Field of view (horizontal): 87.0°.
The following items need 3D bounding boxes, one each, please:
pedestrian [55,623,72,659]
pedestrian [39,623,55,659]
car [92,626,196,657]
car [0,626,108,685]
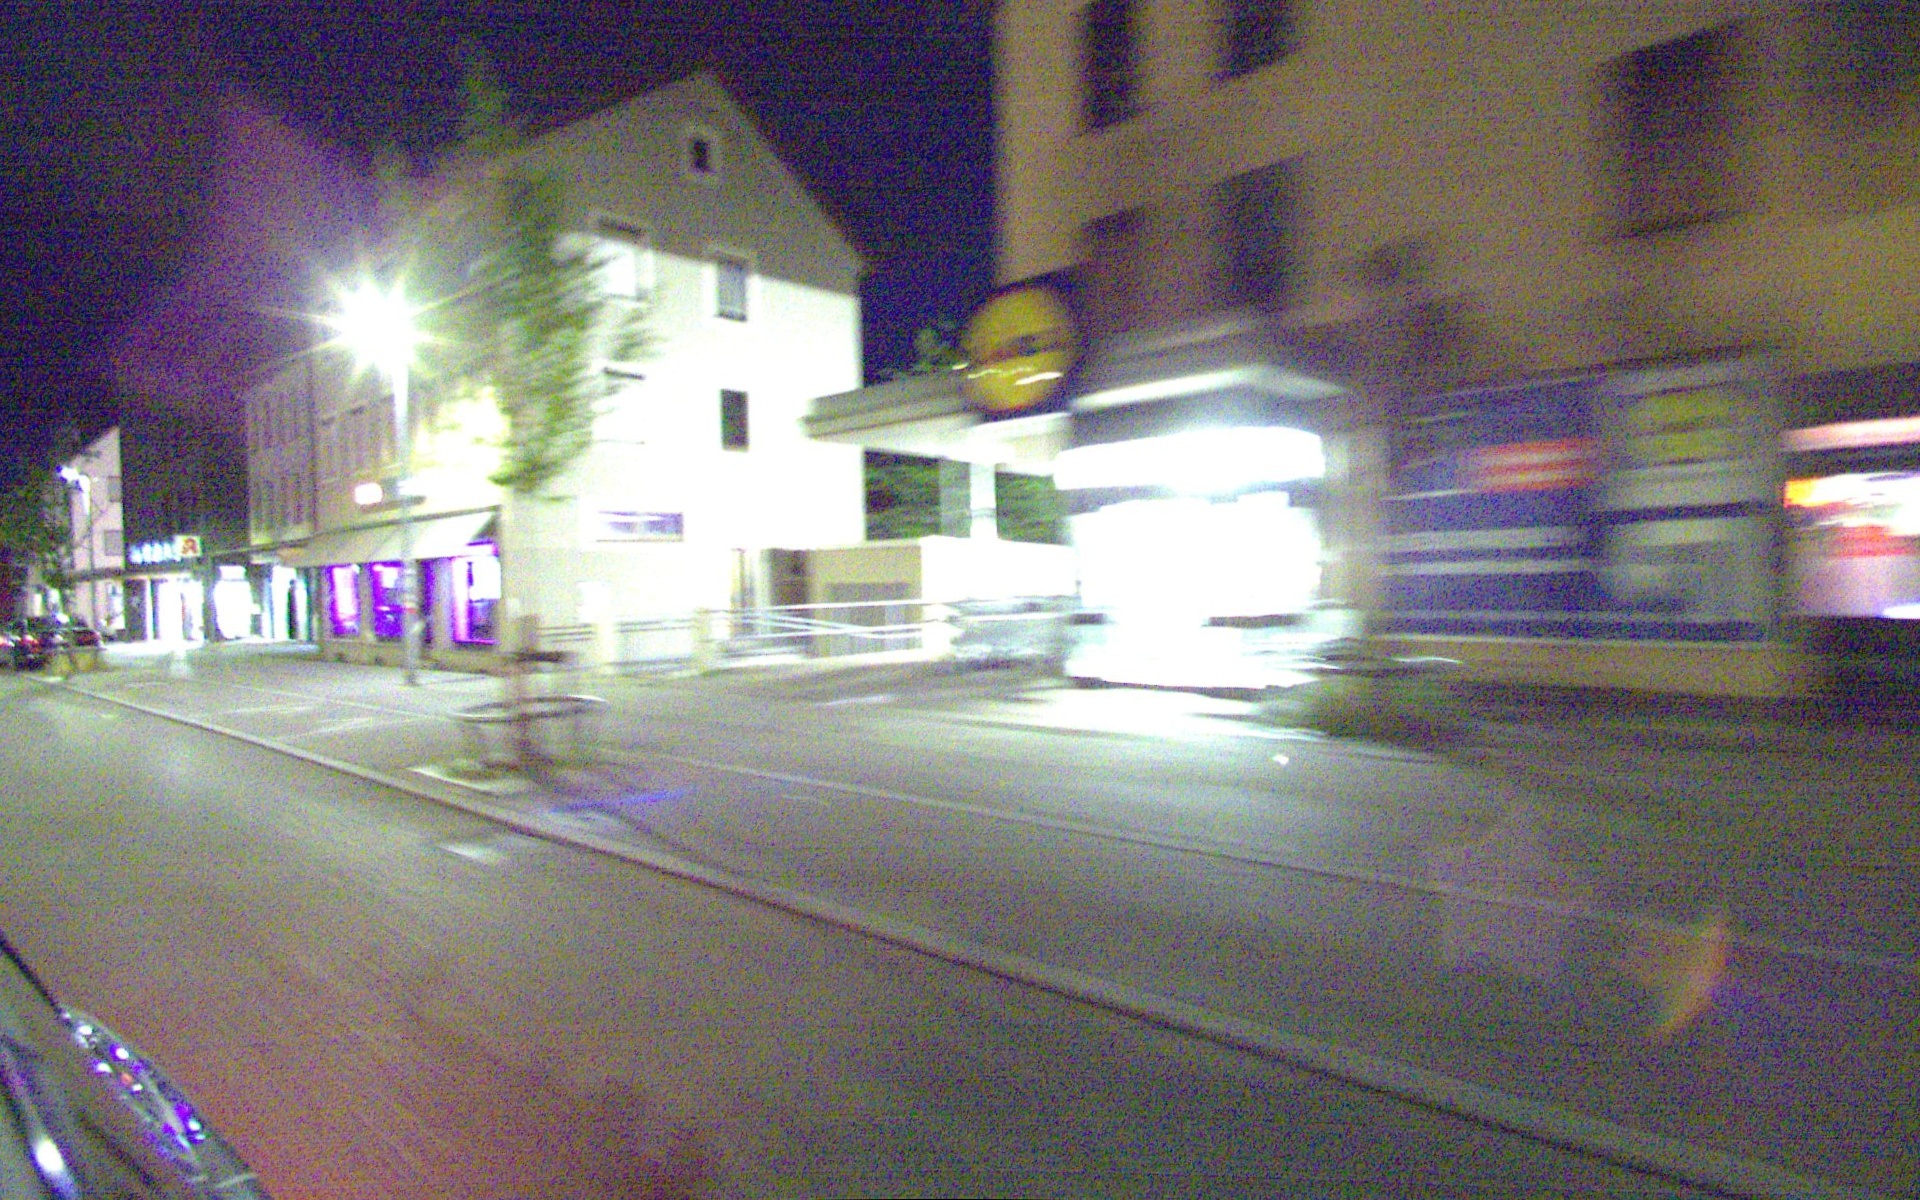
[{"bbox_3d":[-40.778,1.853,46.040,0.521,1.600,0.666,-1,-1,-44],"label":"pedestrian"},{"bbox_3d":[-41.344,1.867,45.824,0.521,1.600,0.667,-1,-1,-41],"label":"pedestrian"},{"bbox_3d":[-40.110,2.027,49.810,1.651,1.427,3.784,-2,-2,40],"label":"car"},{"bbox_3d":[-25.790,1.516,28.496,4.925,1.430,1.878,-2,1,39],"label":"car"}]
